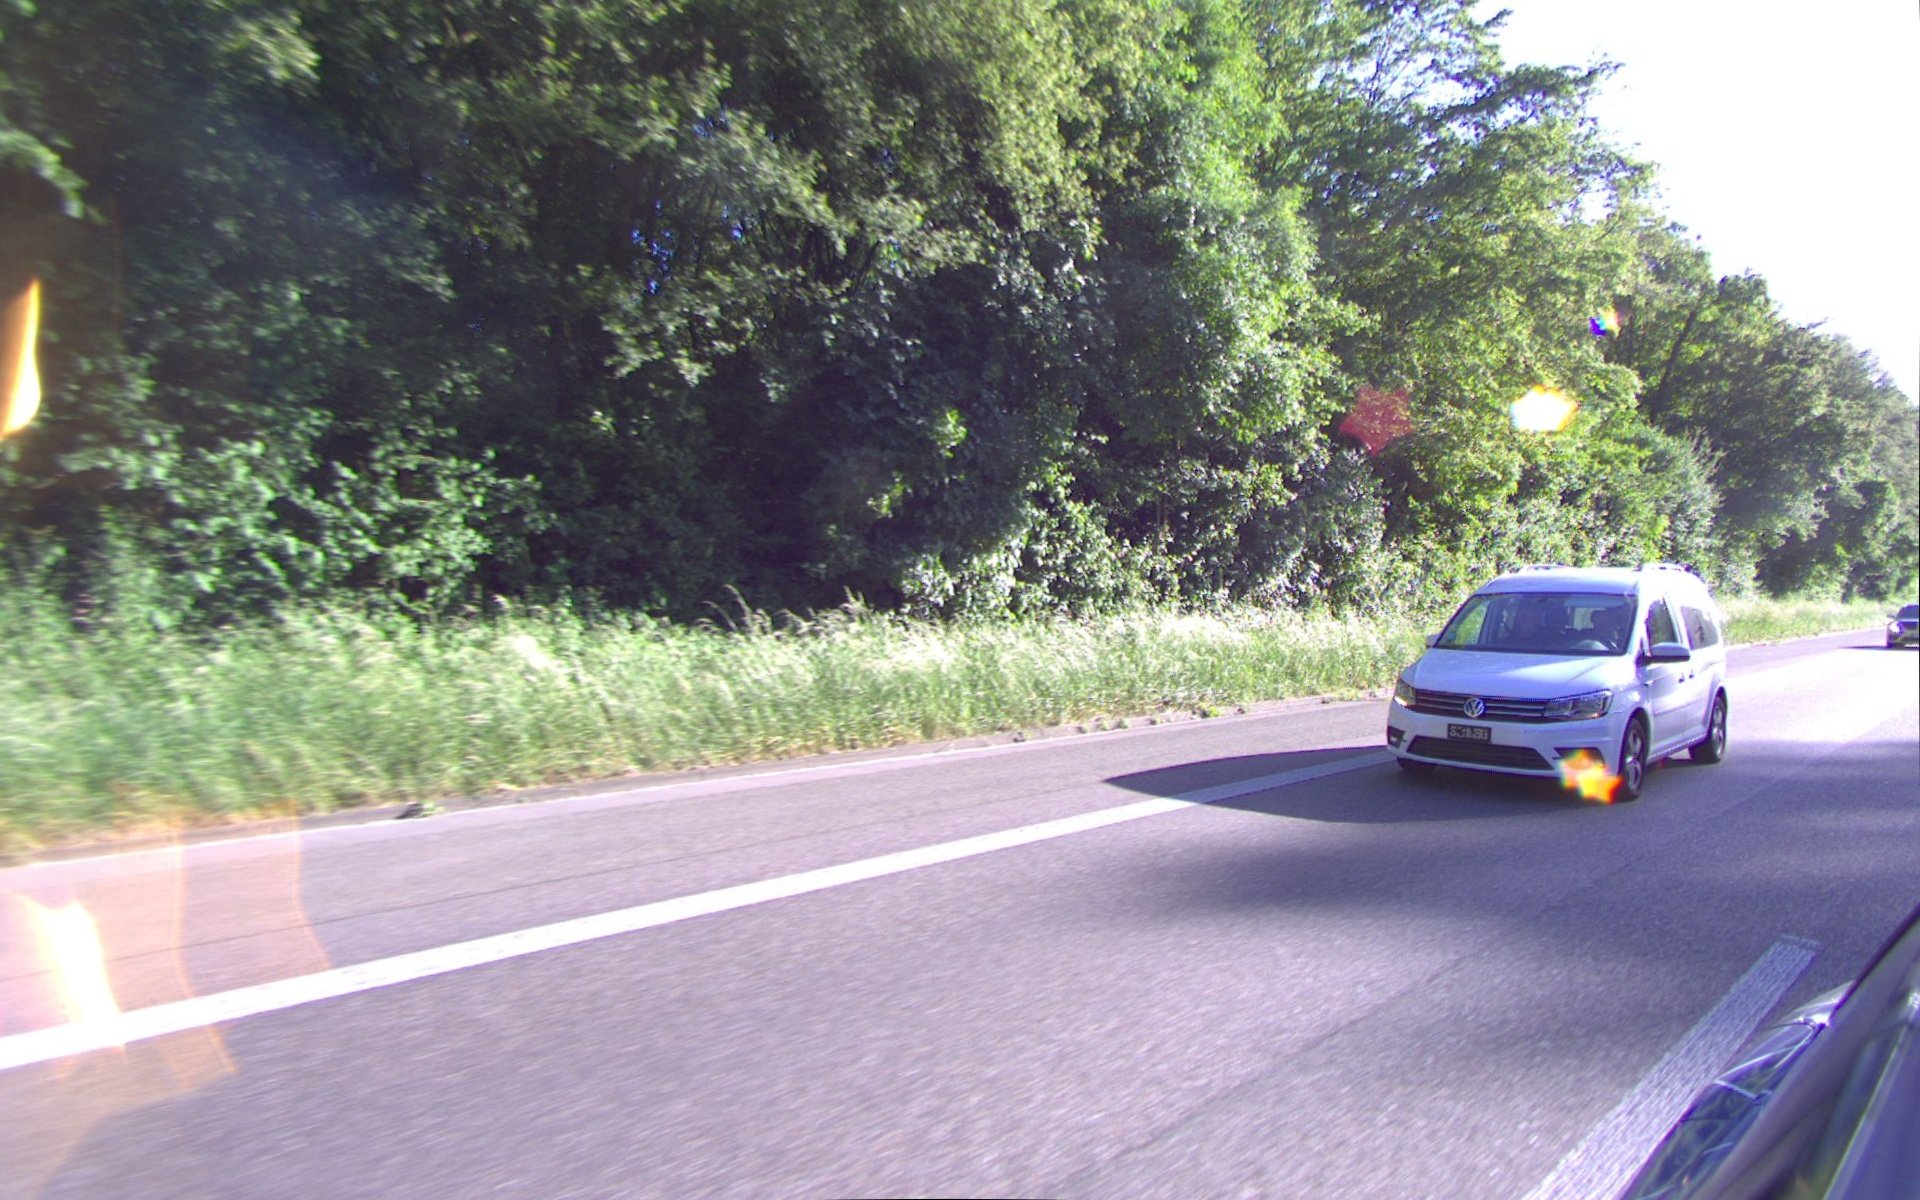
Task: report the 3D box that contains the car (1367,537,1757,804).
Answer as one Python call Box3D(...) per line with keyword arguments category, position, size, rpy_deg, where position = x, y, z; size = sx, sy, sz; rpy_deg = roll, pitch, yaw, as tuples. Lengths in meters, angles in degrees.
Box3D(category="car", position=(5.602, 0.456, 9.141), size=(4.509, 1.835, 1.801), rpy_deg=(-1, 1, -42))

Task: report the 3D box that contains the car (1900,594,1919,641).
Box3D(category="car", position=(31.859, 0.559, 32.783), size=(3.812, 1.467, 1.792), rpy_deg=(0, 0, -43))
